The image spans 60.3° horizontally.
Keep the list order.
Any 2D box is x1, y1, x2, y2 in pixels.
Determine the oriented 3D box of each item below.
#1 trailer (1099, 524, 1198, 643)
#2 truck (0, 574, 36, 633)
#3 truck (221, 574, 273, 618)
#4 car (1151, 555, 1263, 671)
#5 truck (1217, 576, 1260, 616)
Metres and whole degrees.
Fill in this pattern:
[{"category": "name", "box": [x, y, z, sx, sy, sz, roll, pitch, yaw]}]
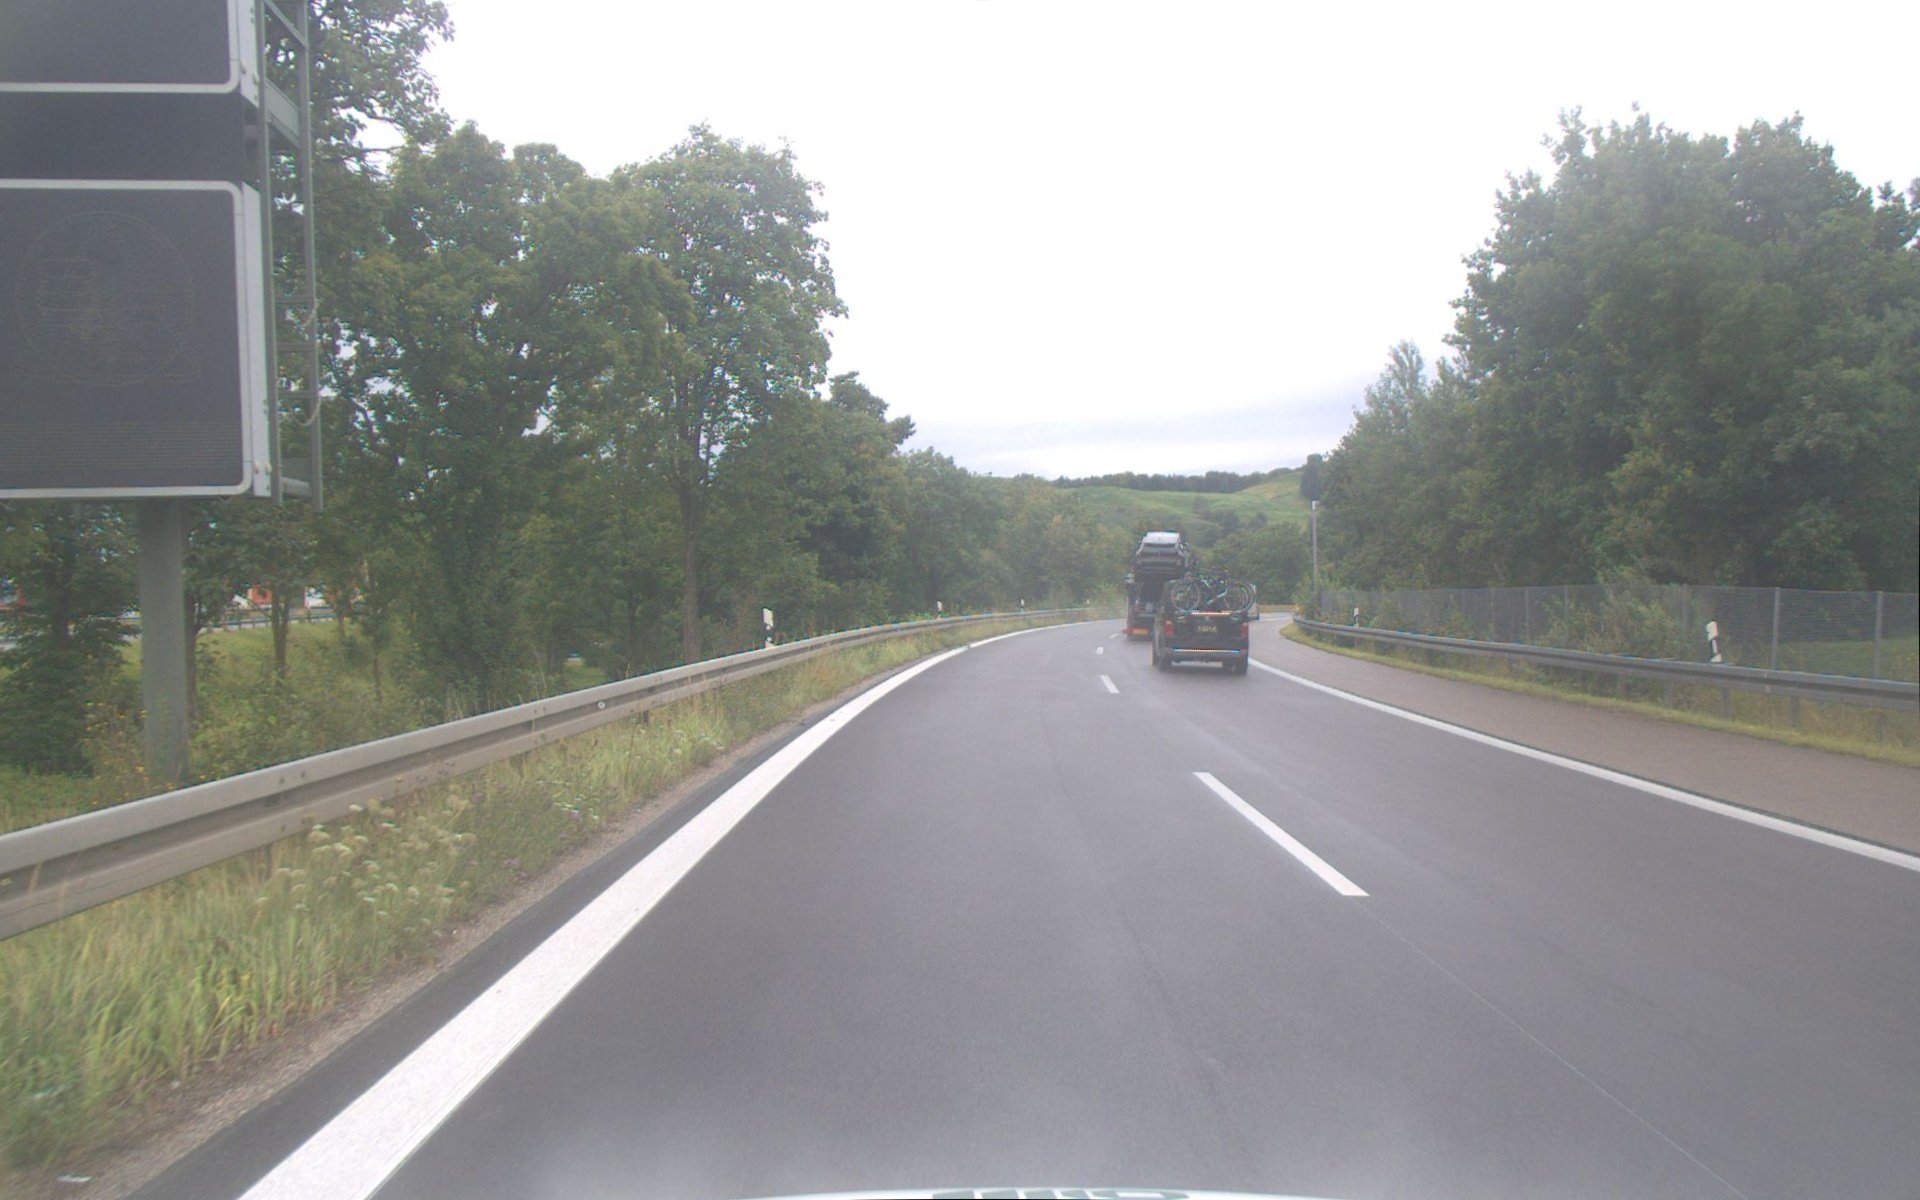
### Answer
[{"category": "trailer", "box": [7.390, -0.619, 64.489, 3.376, 4.069, 12.036, 2, 0, 7]}, {"category": "truck", "box": [-58.208, 0.226, 99.135, 2.809, 3.423, 8.596, -1, 0, -15]}, {"category": "truck", "box": [-75.734, -0.431, 175.891, 3.671, 4.494, 10.154, 0, 0, -15]}, {"category": "car", "box": [5.278, 0.239, 36.064, 2.065, 2.304, 5.900, 0, 0, 5]}, {"category": "truck", "box": [19.370, -0.281, 114.825, 2.592, 2.651, 6.425, -1, 0, 13]}]
